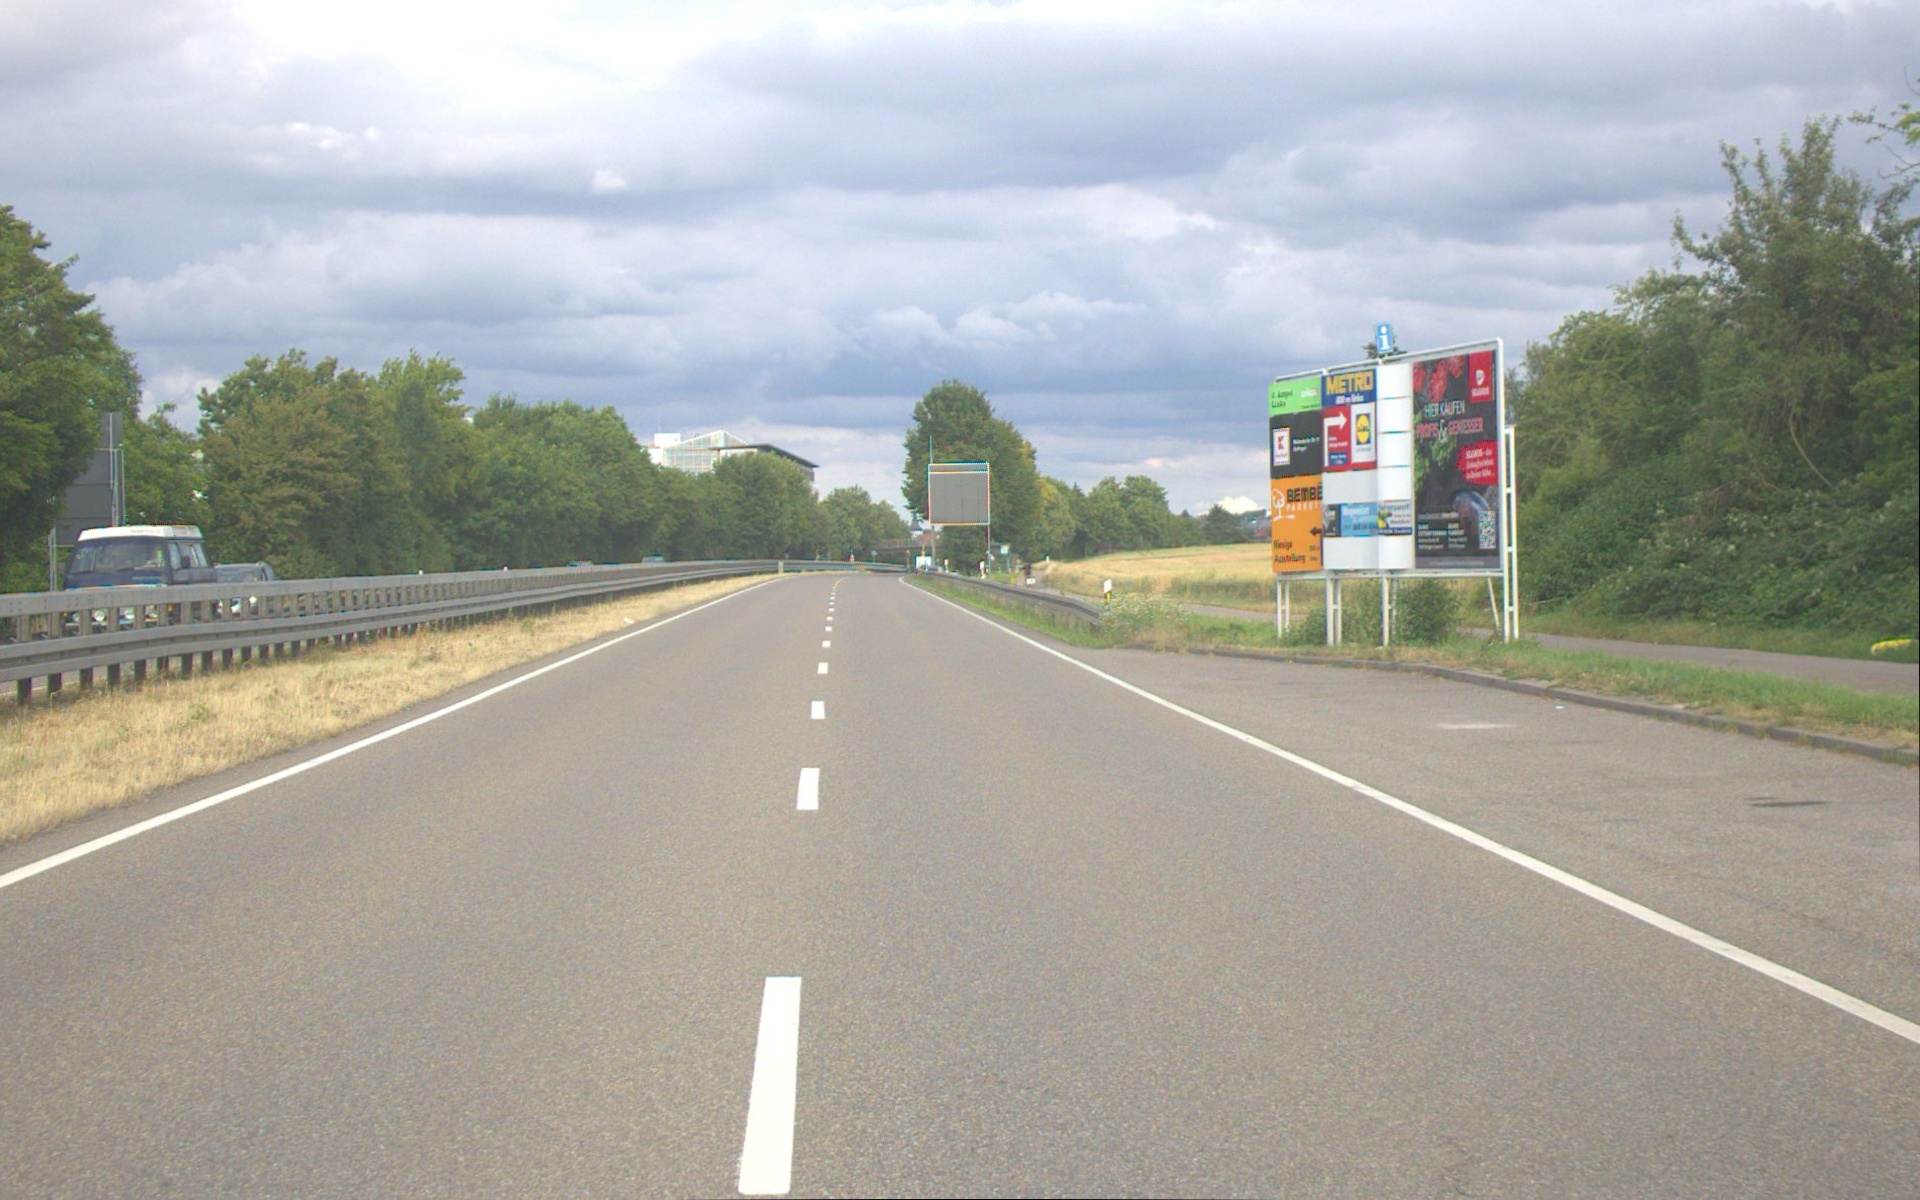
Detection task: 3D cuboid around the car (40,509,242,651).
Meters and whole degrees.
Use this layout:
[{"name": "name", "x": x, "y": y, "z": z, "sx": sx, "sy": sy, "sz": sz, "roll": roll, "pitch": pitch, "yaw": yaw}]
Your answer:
[{"name": "car", "x": -13.247, "y": -0.355, "z": 55.914, "sx": 1.993, "sy": 2.133, "sz": 5.319, "roll": -2, "pitch": 1, "yaw": -1}]

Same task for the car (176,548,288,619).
[{"name": "car", "x": -17.798, "y": -0.422, "z": 84.215, "sx": 1.797, "sy": 1.620, "sz": 4.484, "roll": -2, "pitch": 1, "yaw": -1}]
